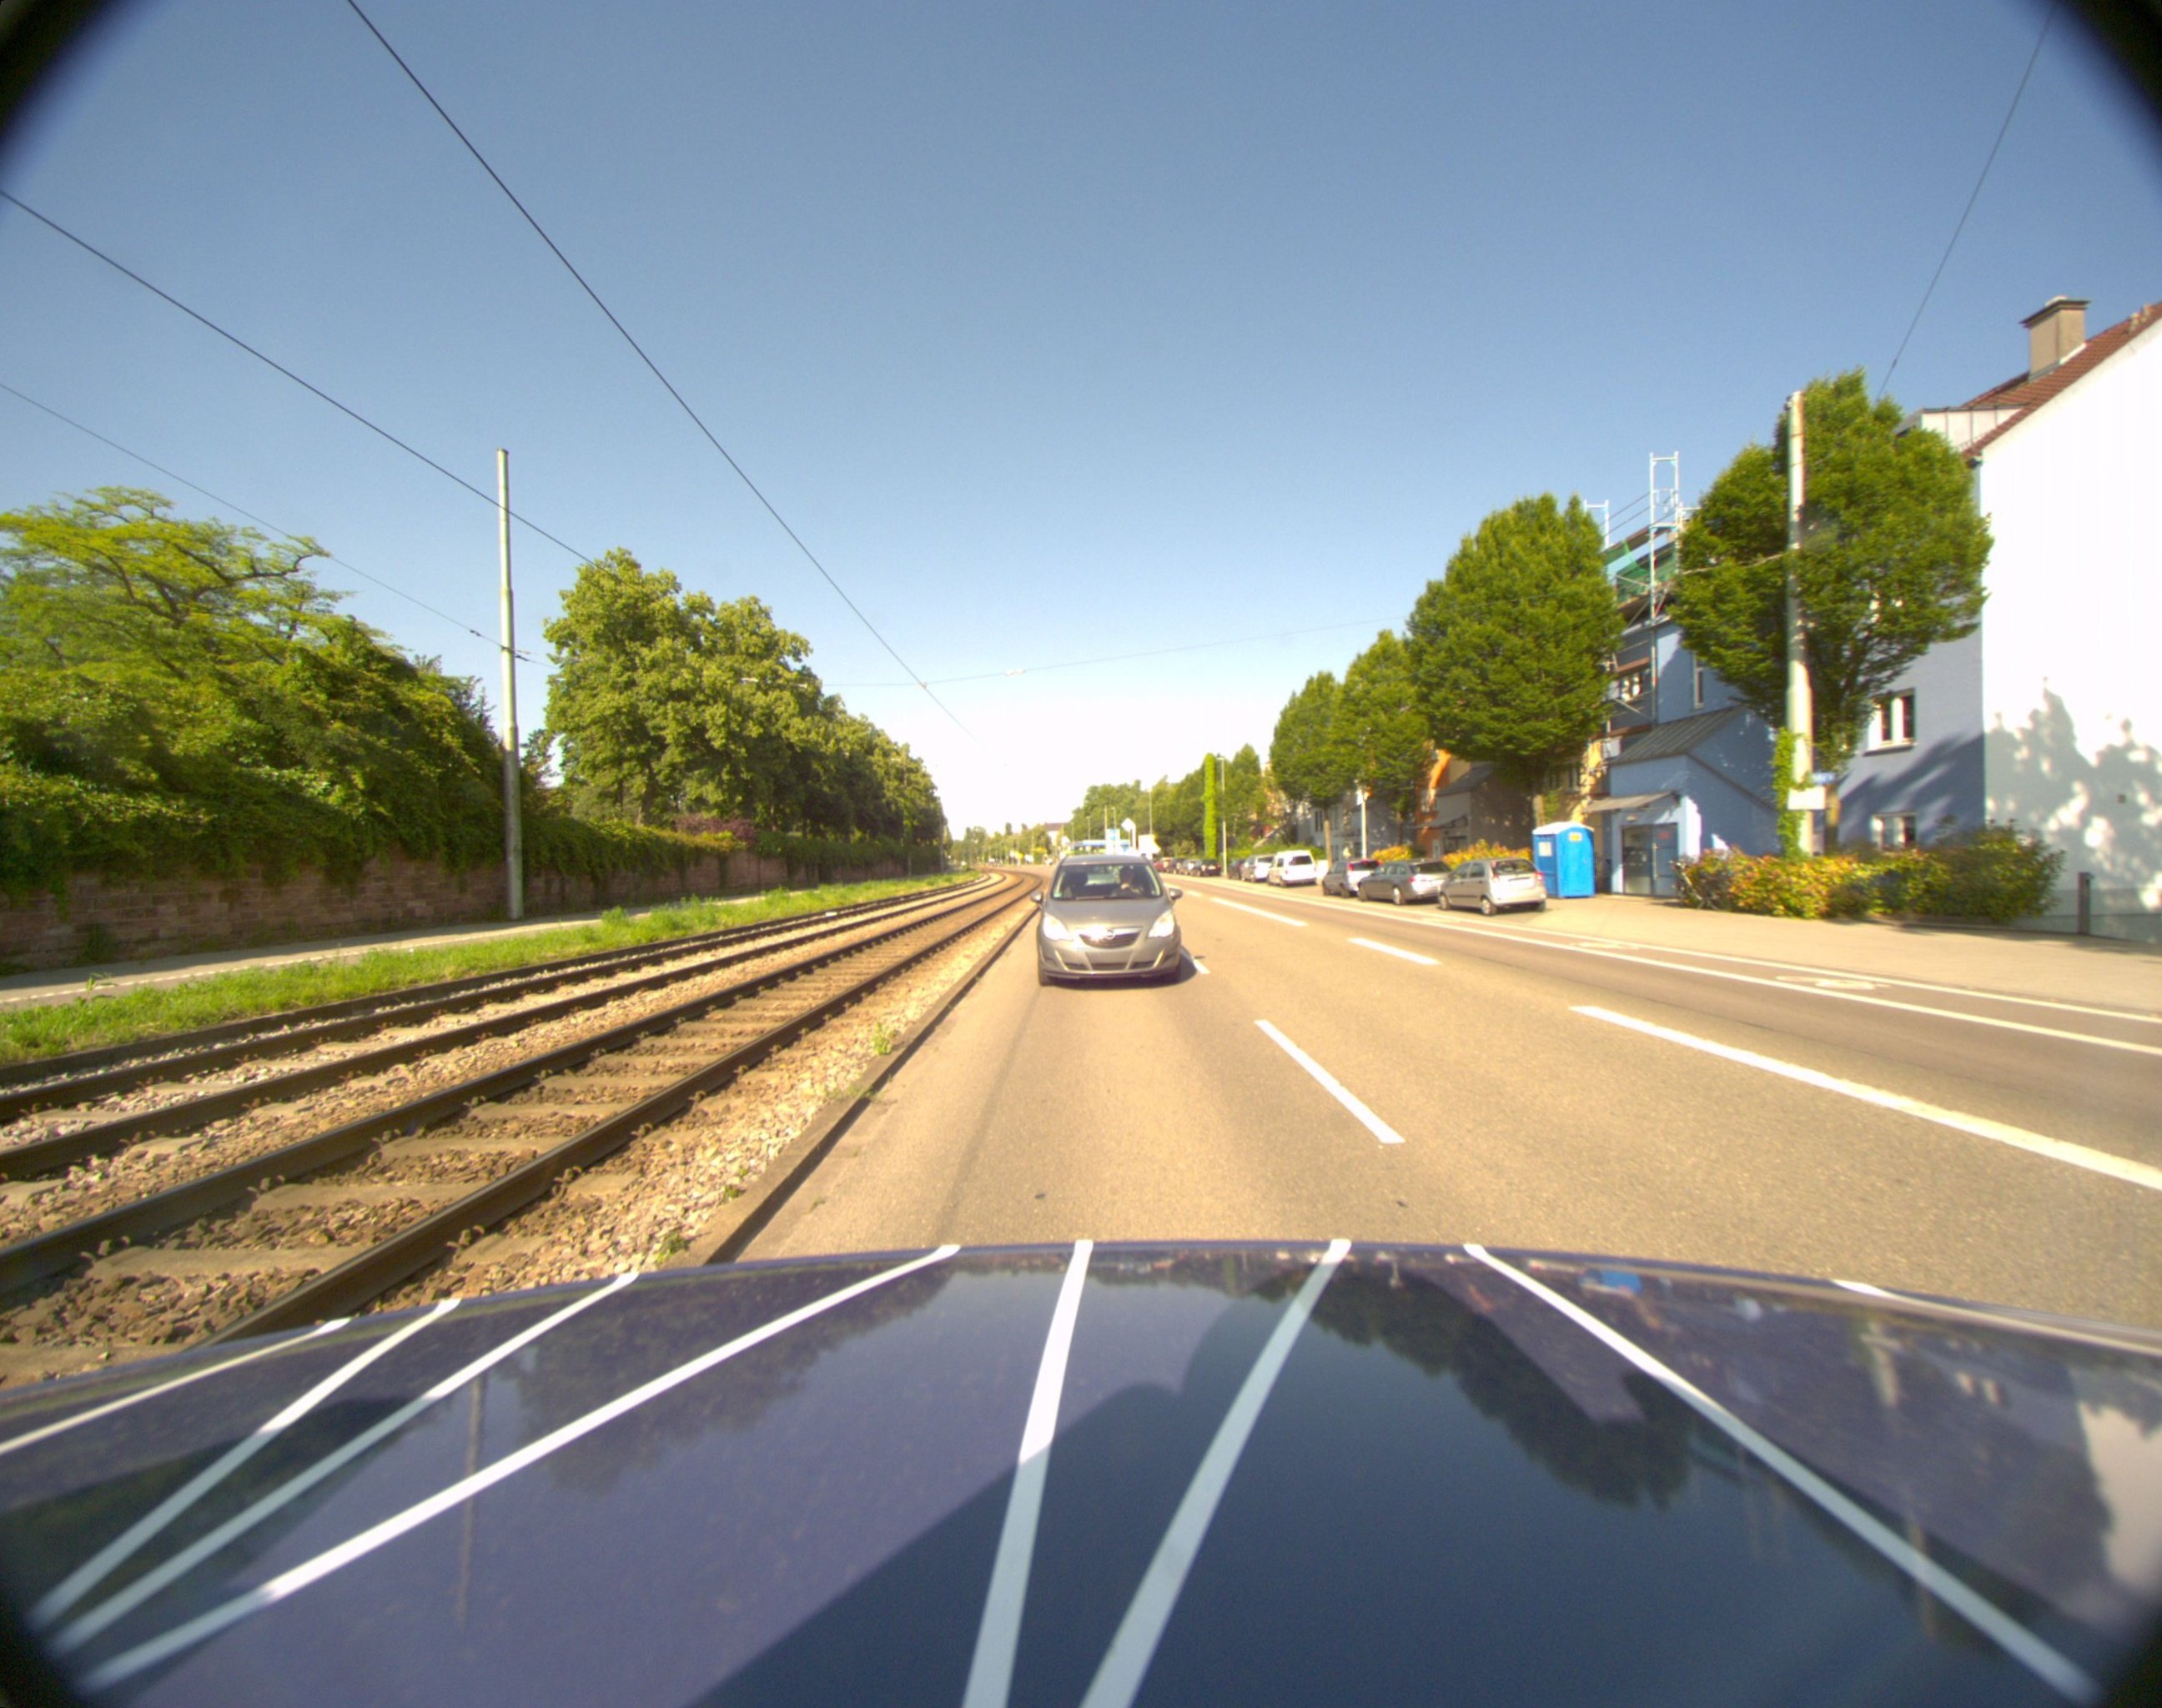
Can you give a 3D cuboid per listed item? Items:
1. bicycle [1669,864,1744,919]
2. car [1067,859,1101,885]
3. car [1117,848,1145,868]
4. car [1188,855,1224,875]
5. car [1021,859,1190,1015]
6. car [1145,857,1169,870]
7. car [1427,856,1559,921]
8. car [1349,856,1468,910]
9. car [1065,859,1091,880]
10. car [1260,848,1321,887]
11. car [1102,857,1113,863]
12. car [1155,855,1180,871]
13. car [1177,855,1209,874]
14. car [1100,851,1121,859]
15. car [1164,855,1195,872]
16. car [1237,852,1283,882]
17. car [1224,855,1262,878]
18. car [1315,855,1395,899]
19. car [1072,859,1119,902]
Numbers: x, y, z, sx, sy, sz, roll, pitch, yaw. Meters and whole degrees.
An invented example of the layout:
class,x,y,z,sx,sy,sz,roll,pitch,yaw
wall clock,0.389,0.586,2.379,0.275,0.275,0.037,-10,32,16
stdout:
class,x,y,z,sx,sy,sz,roll,pitch,yaw
bicycle,14.313,0.839,17.435,0.444,1.147,1.785,-1,1,7
car,0.146,0.990,43.289,1.579,1.306,3.998,-3,0,-4
car,6.609,0.523,101.435,2.159,2.443,6.179,-4,0,-9
car,10.507,0.909,64.232,1.871,1.535,4.908,-3,0,-3
car,0.331,0.895,9.932,1.730,1.574,3.764,-2,0,2
car,8.626,1.082,86.617,1.657,1.416,4.710,-1,0,-7
car,11.234,0.881,20.985,1.605,1.486,3.509,-6,0,0
car,11.038,0.915,26.012,1.753,1.502,4.754,-6,0,-2
car,-0.280,1.197,60.560,1.710,1.581,3.998,-3,0,-4
car,11.297,0.710,41.252,1.767,1.835,4.579,-6,0,-1
car,6.059,1.351,171.719,1.742,1.482,4.271,-1,0,-8
car,9.254,0.934,81.318,1.768,1.565,4.159,-2,1,-6
car,10.274,0.938,70.112,1.717,1.463,4.841,-3,1,-5
car,7.397,0.203,189.053,5.086,1.929,1.856,-1,0,-5
car,9.737,0.884,75.451,1.768,1.564,4.433,-2,0,-10
car,11.118,0.757,47.450,1.672,1.691,4.824,-3,0,0
car,11.228,0.858,52.903,1.620,1.457,4.057,-3,0,-2
car,11.134,0.888,31.158,1.767,1.530,3.981,-6,0,1
car,0.549,1.020,30.584,1.710,1.487,4.000,-3,0,0
